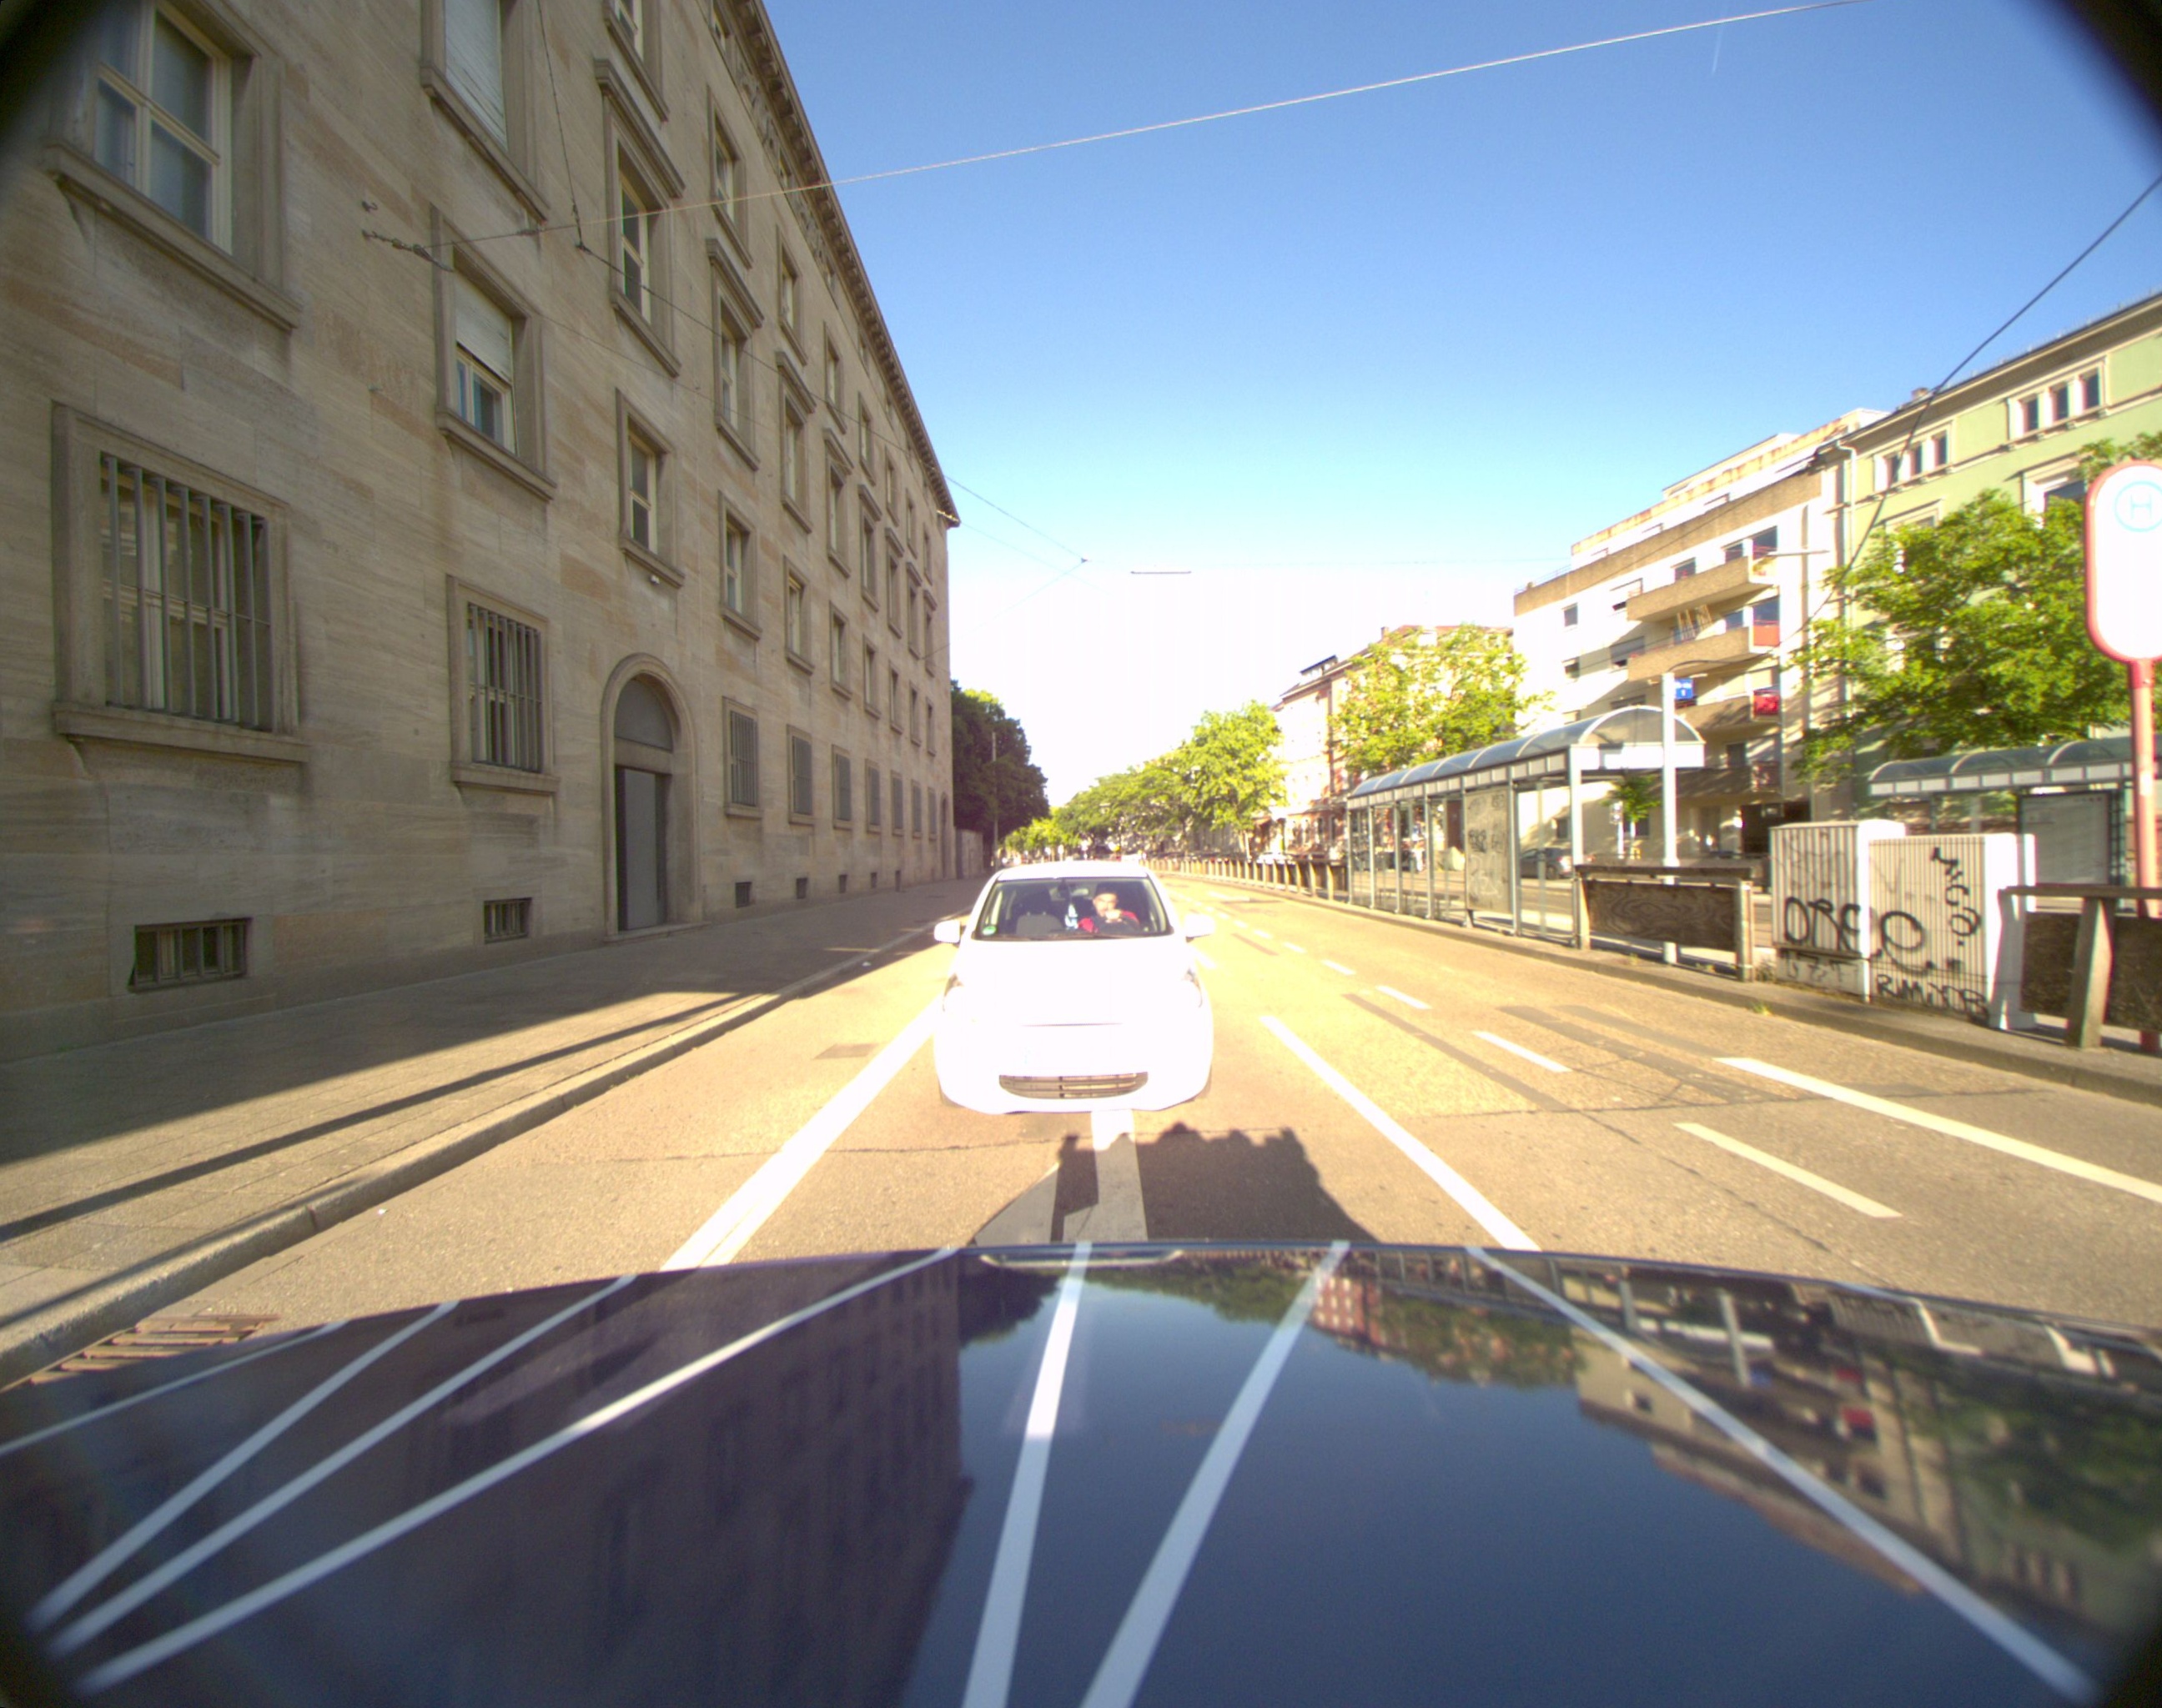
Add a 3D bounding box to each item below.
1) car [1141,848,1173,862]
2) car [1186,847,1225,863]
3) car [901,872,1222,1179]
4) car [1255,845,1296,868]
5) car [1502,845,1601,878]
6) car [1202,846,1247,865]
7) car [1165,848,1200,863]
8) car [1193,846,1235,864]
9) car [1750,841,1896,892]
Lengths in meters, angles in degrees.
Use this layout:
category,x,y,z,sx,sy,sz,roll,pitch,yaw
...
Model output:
category,x,y,z,sx,sy,sz,roll,pitch,yaw
car,9.573,0.127,95.711,3.864,1.583,2.001,-1,0,4
car,13.166,0.082,80.525,3.996,1.674,2.000,-1,0,4
car,-0.075,0.918,5.699,1.612,1.450,3.667,-1,0,1
car,16.312,0.161,63.673,1.994,1.713,4.007,0,2,34
car,20.851,0.314,33.830,1.615,1.387,3.516,-1,0,-19
car,13.644,0.126,72.588,3.996,1.674,2.000,-1,0,4
car,11.445,0.141,86.085,3.864,1.583,2.001,-1,0,5
car,13.359,0.110,76.722,3.996,1.674,2.000,-1,0,4
car,23.939,0.367,24.546,3.796,1.526,1.772,-1,0,-17
